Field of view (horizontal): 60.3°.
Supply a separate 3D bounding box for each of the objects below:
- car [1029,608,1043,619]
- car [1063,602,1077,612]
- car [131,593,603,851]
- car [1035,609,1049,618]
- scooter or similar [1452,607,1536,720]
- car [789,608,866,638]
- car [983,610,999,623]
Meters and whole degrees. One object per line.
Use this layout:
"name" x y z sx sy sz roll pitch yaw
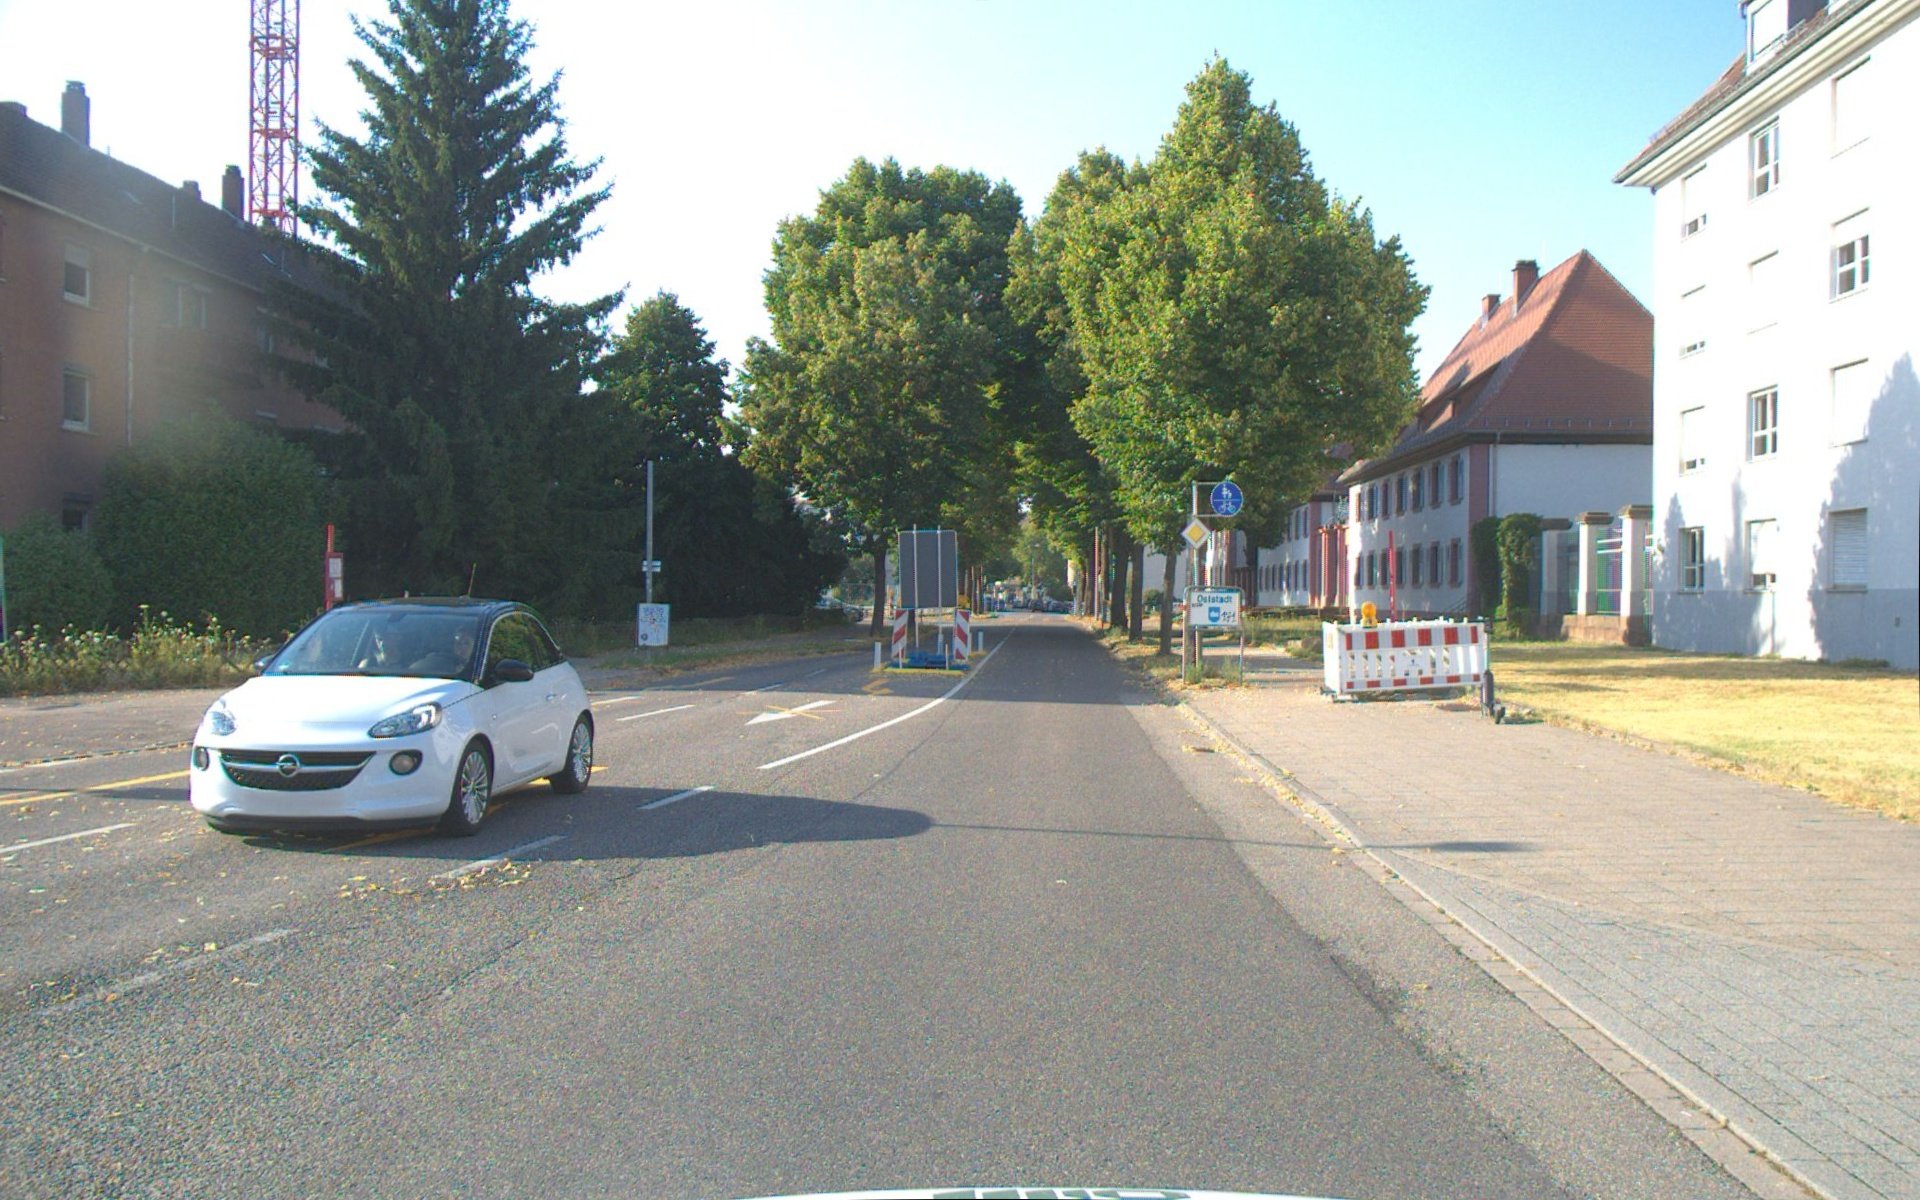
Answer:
"car" 10.720 1.972 233.419 1.679 1.512 3.999 -1 -1 -1
"car" 14.222 0.918 213.611 1.802 1.283 4.002 0 0 3
"car" -3.769 0.697 11.212 1.722 1.446 3.626 0 0 3
"car" 12.353 2.029 249.179 1.804 1.410 3.999 0 -1 -1
"scooter or similar" 6.607 0.766 20.527 0.547 1.315 1.463 -4 0 3
"car" -6.898 1.168 86.072 3.763 1.499 1.652 1 0 5
"car" 4.271 2.224 225.807 1.954 1.717 3.997 0 -1 -3
